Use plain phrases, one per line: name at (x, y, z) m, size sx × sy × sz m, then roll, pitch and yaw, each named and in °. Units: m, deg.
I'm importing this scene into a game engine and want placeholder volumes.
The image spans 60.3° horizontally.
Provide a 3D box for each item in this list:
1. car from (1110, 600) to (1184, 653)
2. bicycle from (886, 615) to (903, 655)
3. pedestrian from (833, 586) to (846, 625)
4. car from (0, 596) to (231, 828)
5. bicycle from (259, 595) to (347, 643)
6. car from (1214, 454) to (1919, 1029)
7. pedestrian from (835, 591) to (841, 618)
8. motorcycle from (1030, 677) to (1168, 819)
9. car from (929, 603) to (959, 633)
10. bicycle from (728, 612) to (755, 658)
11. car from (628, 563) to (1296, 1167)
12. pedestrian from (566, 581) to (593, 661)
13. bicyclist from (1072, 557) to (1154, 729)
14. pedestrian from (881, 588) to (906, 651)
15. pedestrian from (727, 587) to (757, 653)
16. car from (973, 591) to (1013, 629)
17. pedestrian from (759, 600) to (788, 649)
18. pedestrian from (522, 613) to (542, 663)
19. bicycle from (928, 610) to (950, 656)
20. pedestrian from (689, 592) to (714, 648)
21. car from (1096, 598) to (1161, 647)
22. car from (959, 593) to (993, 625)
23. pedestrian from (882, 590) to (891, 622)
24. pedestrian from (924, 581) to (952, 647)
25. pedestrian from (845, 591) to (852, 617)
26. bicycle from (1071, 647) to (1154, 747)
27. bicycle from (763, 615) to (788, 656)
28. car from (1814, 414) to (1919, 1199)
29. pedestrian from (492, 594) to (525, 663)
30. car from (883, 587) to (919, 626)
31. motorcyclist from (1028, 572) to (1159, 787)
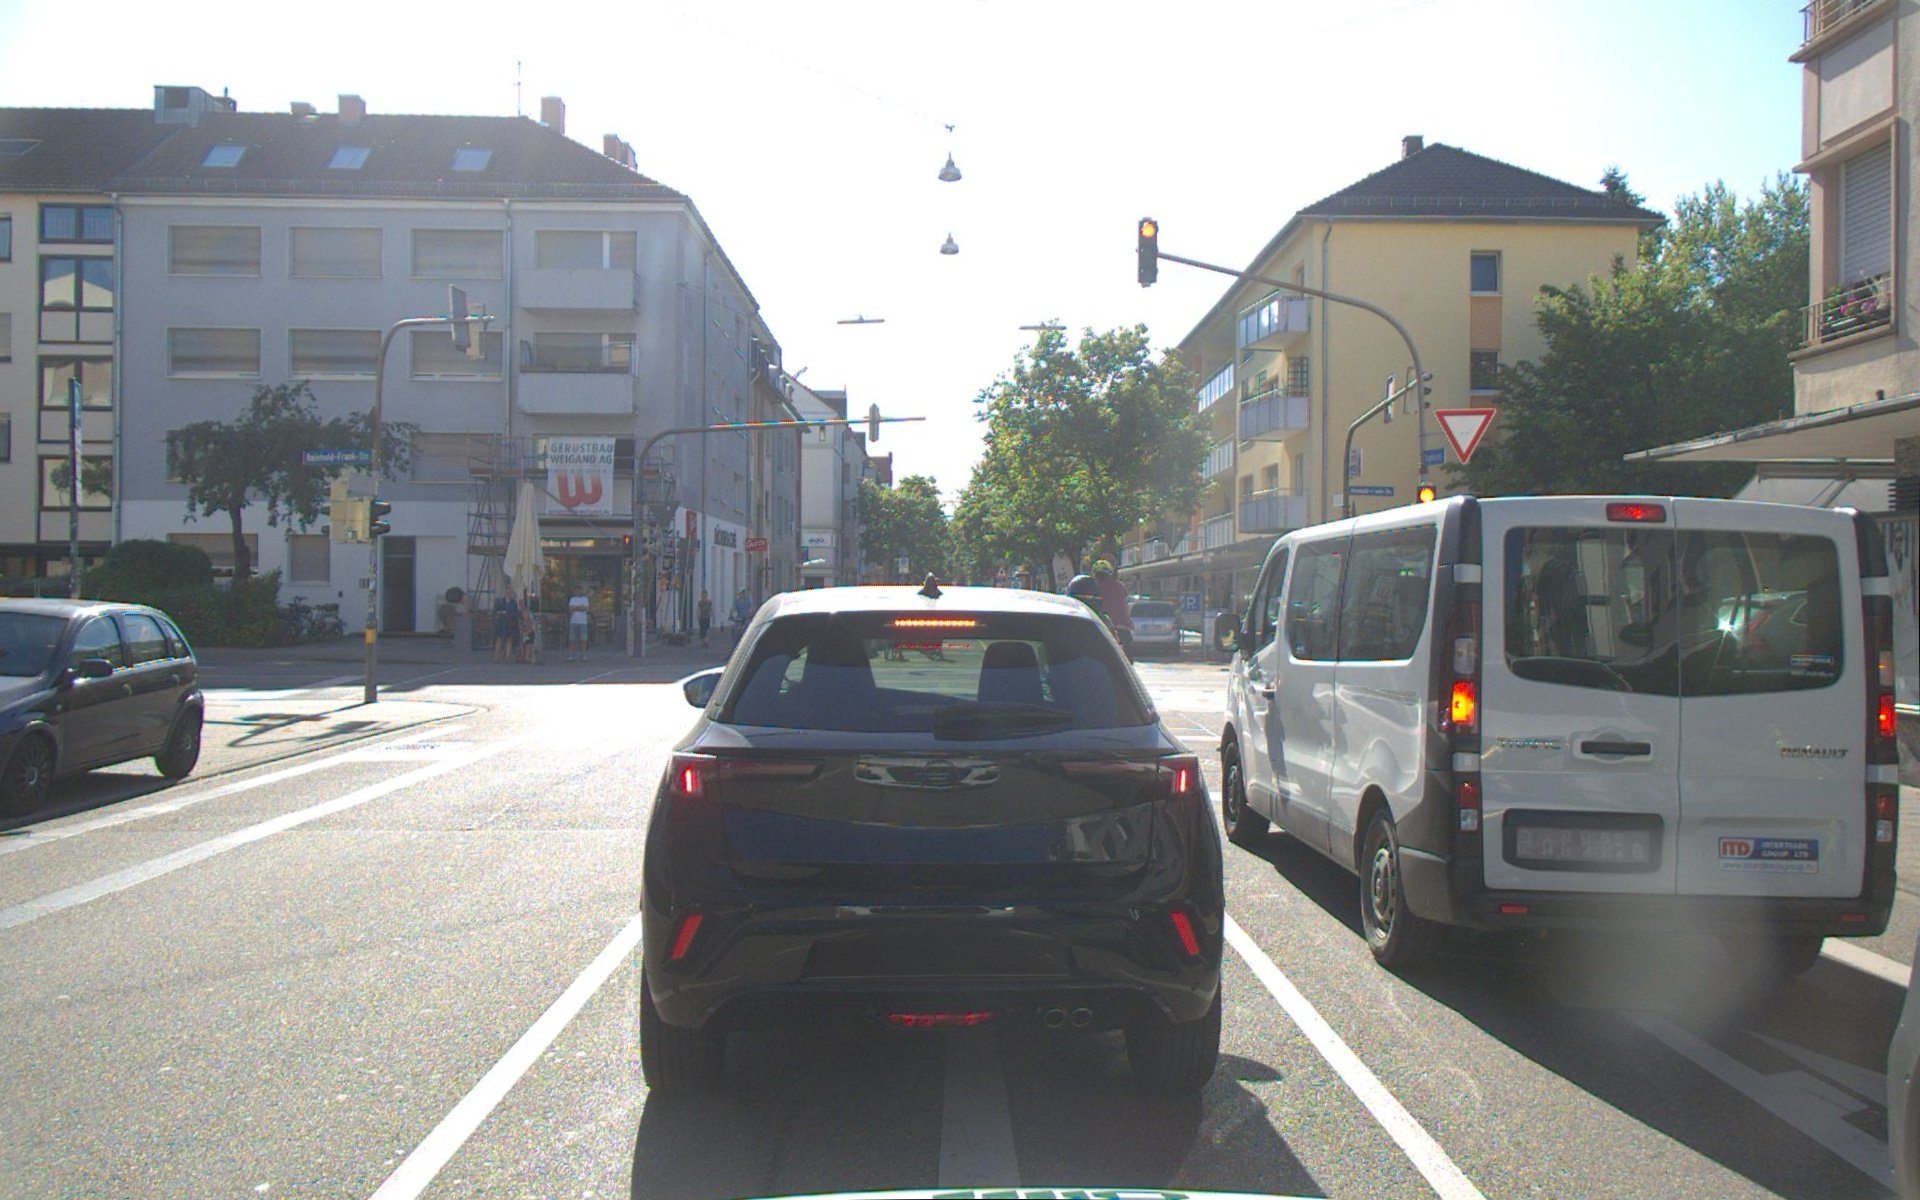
car at (5.309, 0.726, 47.329) m, size 1.601 × 1.458 × 3.956 m, roll 0°, pitch 0°, yaw -1°
bicycle at (-1.738, 0.910, 43.942) m, size 0.434 × 1.010 × 2.068 m, roll 0°, pitch 0°, yaw -3°
pedestrian at (-5.387, 0.233, 74.044) m, size 0.558 × 1.719 × 0.588 m, roll 0°, pitch 0°, yaw -1°
car at (-7.073, 0.728, 12.391) m, size 1.584 × 1.450 × 3.709 m, roll 2°, pitch 0°, yaw -1°
bicycle at (-16.896, 0.483, 42.536) m, size 2.067 × 1.193 × 0.735 m, roll 0°, pitch 0°, yaw -25°
car at (2.723, 0.513, 8.453) m, size 1.953 × 2.013 × 4.894 m, roll 3°, pitch 0°, yaw -1°
pedestrian at (-7.821, 0.300, 105.876) m, size 0.394 × 1.704 × 0.417 m, roll 0°, pitch 0°, yaw -1°
motorcycle at (0.981, 1.046, 12.133) m, size 0.808 × 0.860 × 1.884 m, roll 0°, pitch 0°, yaw -1°
car at (-0.972, 1.086, 102.518) m, size 1.787 × 1.758 × 4.000 m, roll 0°, pitch 0°, yaw 1°
bicycle at (-5.775, 0.915, 43.861) m, size 0.511 × 1.167 × 2.282 m, roll 0°, pitch 0°, yaw -3°
car at (-0.072, 0.679, 6.306) m, size 1.735 × 1.557 × 3.998 m, roll 0°, pitch 0°, yaw -3°
pedestrian at (-8.724, 0.472, 37.924) m, size 0.550 × 1.806 × 0.582 m, roll 1°, pitch 0°, yaw -9°
bicyclist at (1.604, 0.438, 17.508) m, size 0.675 × 1.742 × 1.413 m, roll 0°, pitch 0°, yaw -3°
pedestrian at (-1.760, 0.508, 43.771) m, size 0.666 × 1.634 × 0.762 m, roll 0°, pitch 0°, yaw -3°
pedestrian at (-5.722, 0.526, 43.493) m, size 0.692 × 1.707 × 0.802 m, roll 0°, pitch 0°, yaw -3°
car at (1.573, 0.459, 80.318) m, size 1.863 × 1.758 × 4.073 m, roll 0°, pitch 0°, yaw 0°
pedestrian at (-4.886, 0.644, 43.427) m, size 0.692 × 1.275 × 0.802 m, roll 0°, pitch 0°, yaw -3°
pedestrian at (-9.657, 0.861, 37.297) m, size 0.348 × 1.111 × 0.461 m, roll 0°, pitch 0°, yaw -4°
bicycle at (-0.555, 0.856, 43.674) m, size 0.511 × 1.167 × 2.169 m, roll 0°, pitch 0°, yaw -3°
pedestrian at (-7.183, 0.545, 45.998) m, size 0.605 × 1.547 × 0.724 m, roll 0°, pitch 0°, yaw -4°
car at (5.254, 0.681, 51.926) m, size 1.601 × 1.458 × 3.999 m, roll 0°, pitch 0°, yaw -1°
car at (0.885, 0.485, 92.174) m, size 1.863 × 1.758 × 4.000 m, roll 0°, pitch 0°, yaw 0°
pedestrian at (-3.993, 0.325, 89.820) m, size 0.478 × 1.719 × 0.588 m, roll 0°, pitch 0°, yaw -1°
pedestrian at (-0.574, 0.365, 43.530) m, size 0.692 × 1.731 × 0.802 m, roll 0°, pitch 0°, yaw -3°
pedestrian at (-7.122, 0.257, 105.523) m, size 0.394 × 1.704 × 0.417 m, roll 0°, pitch 0°, yaw -1°
bicycle at (1.598, 1.003, 17.638) m, size 0.565 × 0.920 × 2.300 m, roll 0°, pitch 0°, yaw -3°
bicycle at (-4.877, 0.926, 43.784) m, size 0.511 × 1.010 × 2.338 m, roll 0°, pitch 0°, yaw -3°
car at (2.976, 0.592, 1.252) m, size 1.800 × 1.901 × 4.992 m, roll 0°, pitch 0°, yaw -4°
pedestrian at (-10.165, 0.638, 37.240) m, size 0.573 × 1.547 × 0.649 m, roll 0°, pitch 0°, yaw -4°
car at (-3.120, 0.341, 88.196) m, size 1.817 × 2.049 × 3.880 m, roll 0°, pitch 0°, yaw -1°
motorcyclist at (0.977, 0.569, 12.378) m, size 0.846 × 1.528 × 1.159 m, roll 0°, pitch 0°, yaw -2°
